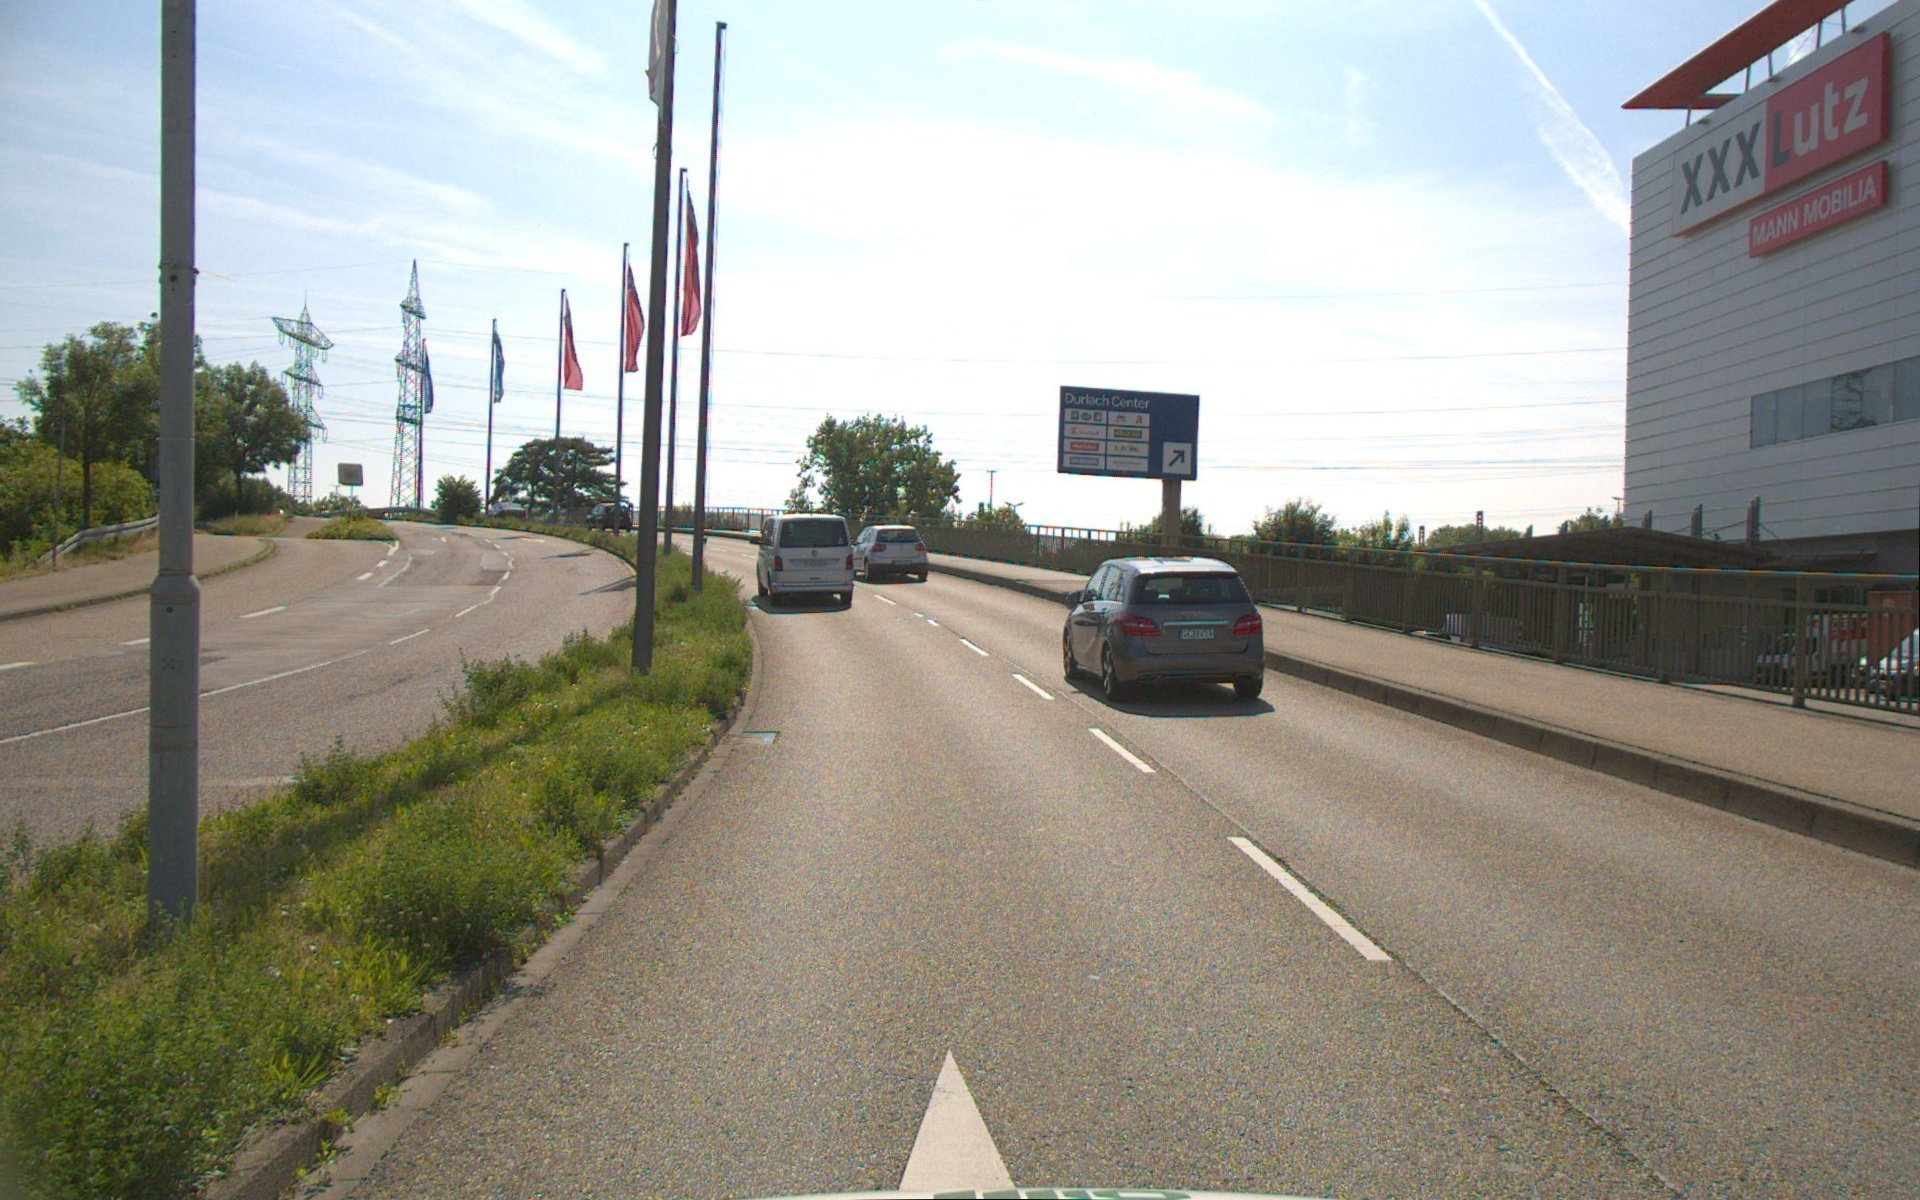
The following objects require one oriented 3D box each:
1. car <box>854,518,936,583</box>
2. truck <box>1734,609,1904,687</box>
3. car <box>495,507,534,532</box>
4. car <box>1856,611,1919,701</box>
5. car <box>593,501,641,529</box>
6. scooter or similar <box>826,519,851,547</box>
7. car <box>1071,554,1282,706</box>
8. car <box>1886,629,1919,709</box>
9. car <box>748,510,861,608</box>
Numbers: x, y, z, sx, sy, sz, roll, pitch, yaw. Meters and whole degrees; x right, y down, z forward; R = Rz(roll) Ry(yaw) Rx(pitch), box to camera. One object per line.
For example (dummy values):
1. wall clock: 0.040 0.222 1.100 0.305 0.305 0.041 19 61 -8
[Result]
1. car: -1.869 -1.422 46.318 1.822 1.555 4.138 -3 5 -8
2. truck: 35.478 1.946 68.399 5.870 2.978 2.132 2 0 0
3. car: -26.510 -4.831 98.357 1.750 1.354 3.716 -2 5 -23
4. car: 31.046 1.773 50.873 5.873 2.666 2.131 2 0 -3
5. car: -18.905 -4.676 91.090 1.752 1.355 3.710 -3 2 -25
6. scooter or similar: -5.340 -2.941 72.750 0.505 1.162 1.468 1 3 -29
7. car: 2.446 0.264 19.658 1.819 1.555 4.143 1 2 -2
8. car: 25.828 1.787 41.111 2.082 2.040 6.009 0 0 -2
9. car: -3.575 -0.987 37.452 2.004 2.048 3.988 -1 4 -14
